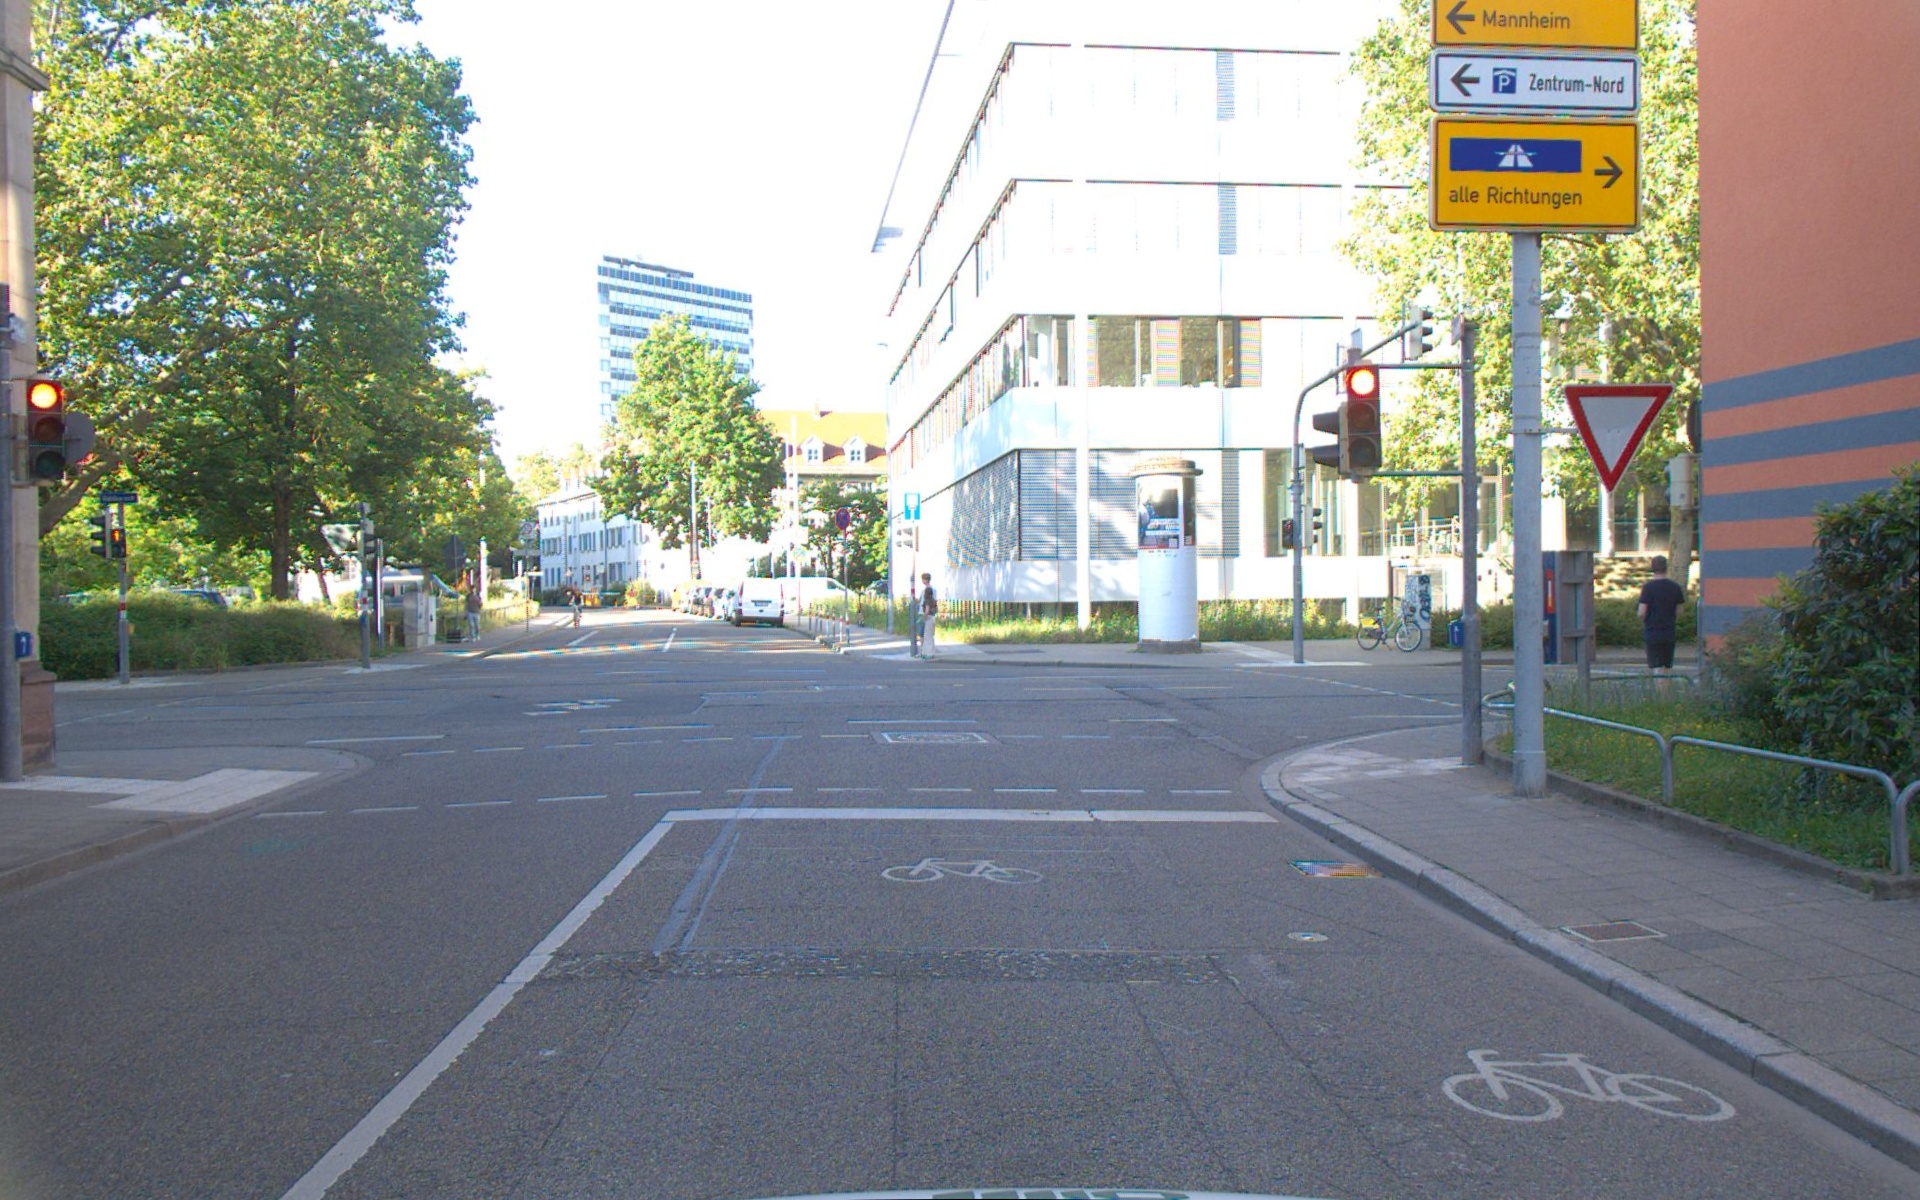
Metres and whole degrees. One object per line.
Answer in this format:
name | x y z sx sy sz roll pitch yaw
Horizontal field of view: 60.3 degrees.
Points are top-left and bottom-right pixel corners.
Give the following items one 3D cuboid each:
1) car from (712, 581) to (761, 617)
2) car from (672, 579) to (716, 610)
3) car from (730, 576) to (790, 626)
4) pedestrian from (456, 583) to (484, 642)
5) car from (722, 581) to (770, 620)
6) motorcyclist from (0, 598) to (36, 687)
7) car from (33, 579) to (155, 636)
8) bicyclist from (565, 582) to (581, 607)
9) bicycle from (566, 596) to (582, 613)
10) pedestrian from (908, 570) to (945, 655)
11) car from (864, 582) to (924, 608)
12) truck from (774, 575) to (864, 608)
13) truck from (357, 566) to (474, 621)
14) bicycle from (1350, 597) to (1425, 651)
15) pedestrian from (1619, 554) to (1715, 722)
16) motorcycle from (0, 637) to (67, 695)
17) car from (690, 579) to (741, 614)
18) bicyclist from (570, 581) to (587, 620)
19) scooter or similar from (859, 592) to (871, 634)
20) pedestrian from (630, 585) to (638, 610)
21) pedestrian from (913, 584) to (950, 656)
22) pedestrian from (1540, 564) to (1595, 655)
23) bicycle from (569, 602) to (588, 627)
car | -10.608 -0.080 78.160 1.856 1.582 4.400 0 1 -14
car | -15.345 -0.311 95.274 1.860 1.684 4.391 0 1 -19
car | -7.848 0.006 64.630 2.047 1.827 4.404 0 1 -10
pedestrian | -14.803 0.379 49.935 0.691 1.753 0.952 -2 0 -13
car | -9.440 -0.006 72.806 1.854 1.582 4.404 0 1 -10
motorcyclist | -16.169 0.702 27.370 1.268 1.444 0.821 -1 0 -2
car | -39.975 0.337 76.450 4.472 2.433 2.069 -2 0 -10
bicyclist | -24.861 -0.349 106.310 0.850 1.541 1.016 -3 0 -11
bicycle | -24.834 0.268 106.297 0.850 1.027 2.408 -3 0 -11
pedestrian | -0.761 0.277 37.797 0.547 1.882 0.678 -3 1 15
car | -4.161 -0.313 104.187 3.502 1.573 1.549 -1 0 -20
truck | -8.775 -0.531 102.932 5.258 2.049 1.989 -1 0 -20
truck | -24.563 -0.314 74.766 4.741 2.441 2.082 0 1 -11
bicycle | 9.348 0.513 36.178 0.503 1.067 1.667 -3 4 -35
pedestrian | 8.079 0.424 18.926 0.692 1.872 0.837 1 0 -1
motorcycle | -16.151 1.100 27.367 2.251 0.904 0.821 -1 0 -3
car | -12.672 -0.202 85.378 1.860 1.684 4.391 0 1 -19
bicyclist | -15.431 0.026 66.917 0.604 1.559 0.901 -1 0 -9
scooter or similar | -3.364 0.457 58.519 0.324 1.449 1.333 1 0 -6
pedestrian | -21.136 -0.175 107.236 0.428 1.636 0.488 -1 0 -27
pedestrian | -0.646 0.443 37.193 0.551 1.567 0.673 -4 1 -19
pedestrian | 12.671 0.197 34.510 0.819 1.872 0.707 1 0 -11
bicycle | -15.421 0.571 66.907 0.604 0.986 1.837 -1 1 -9
